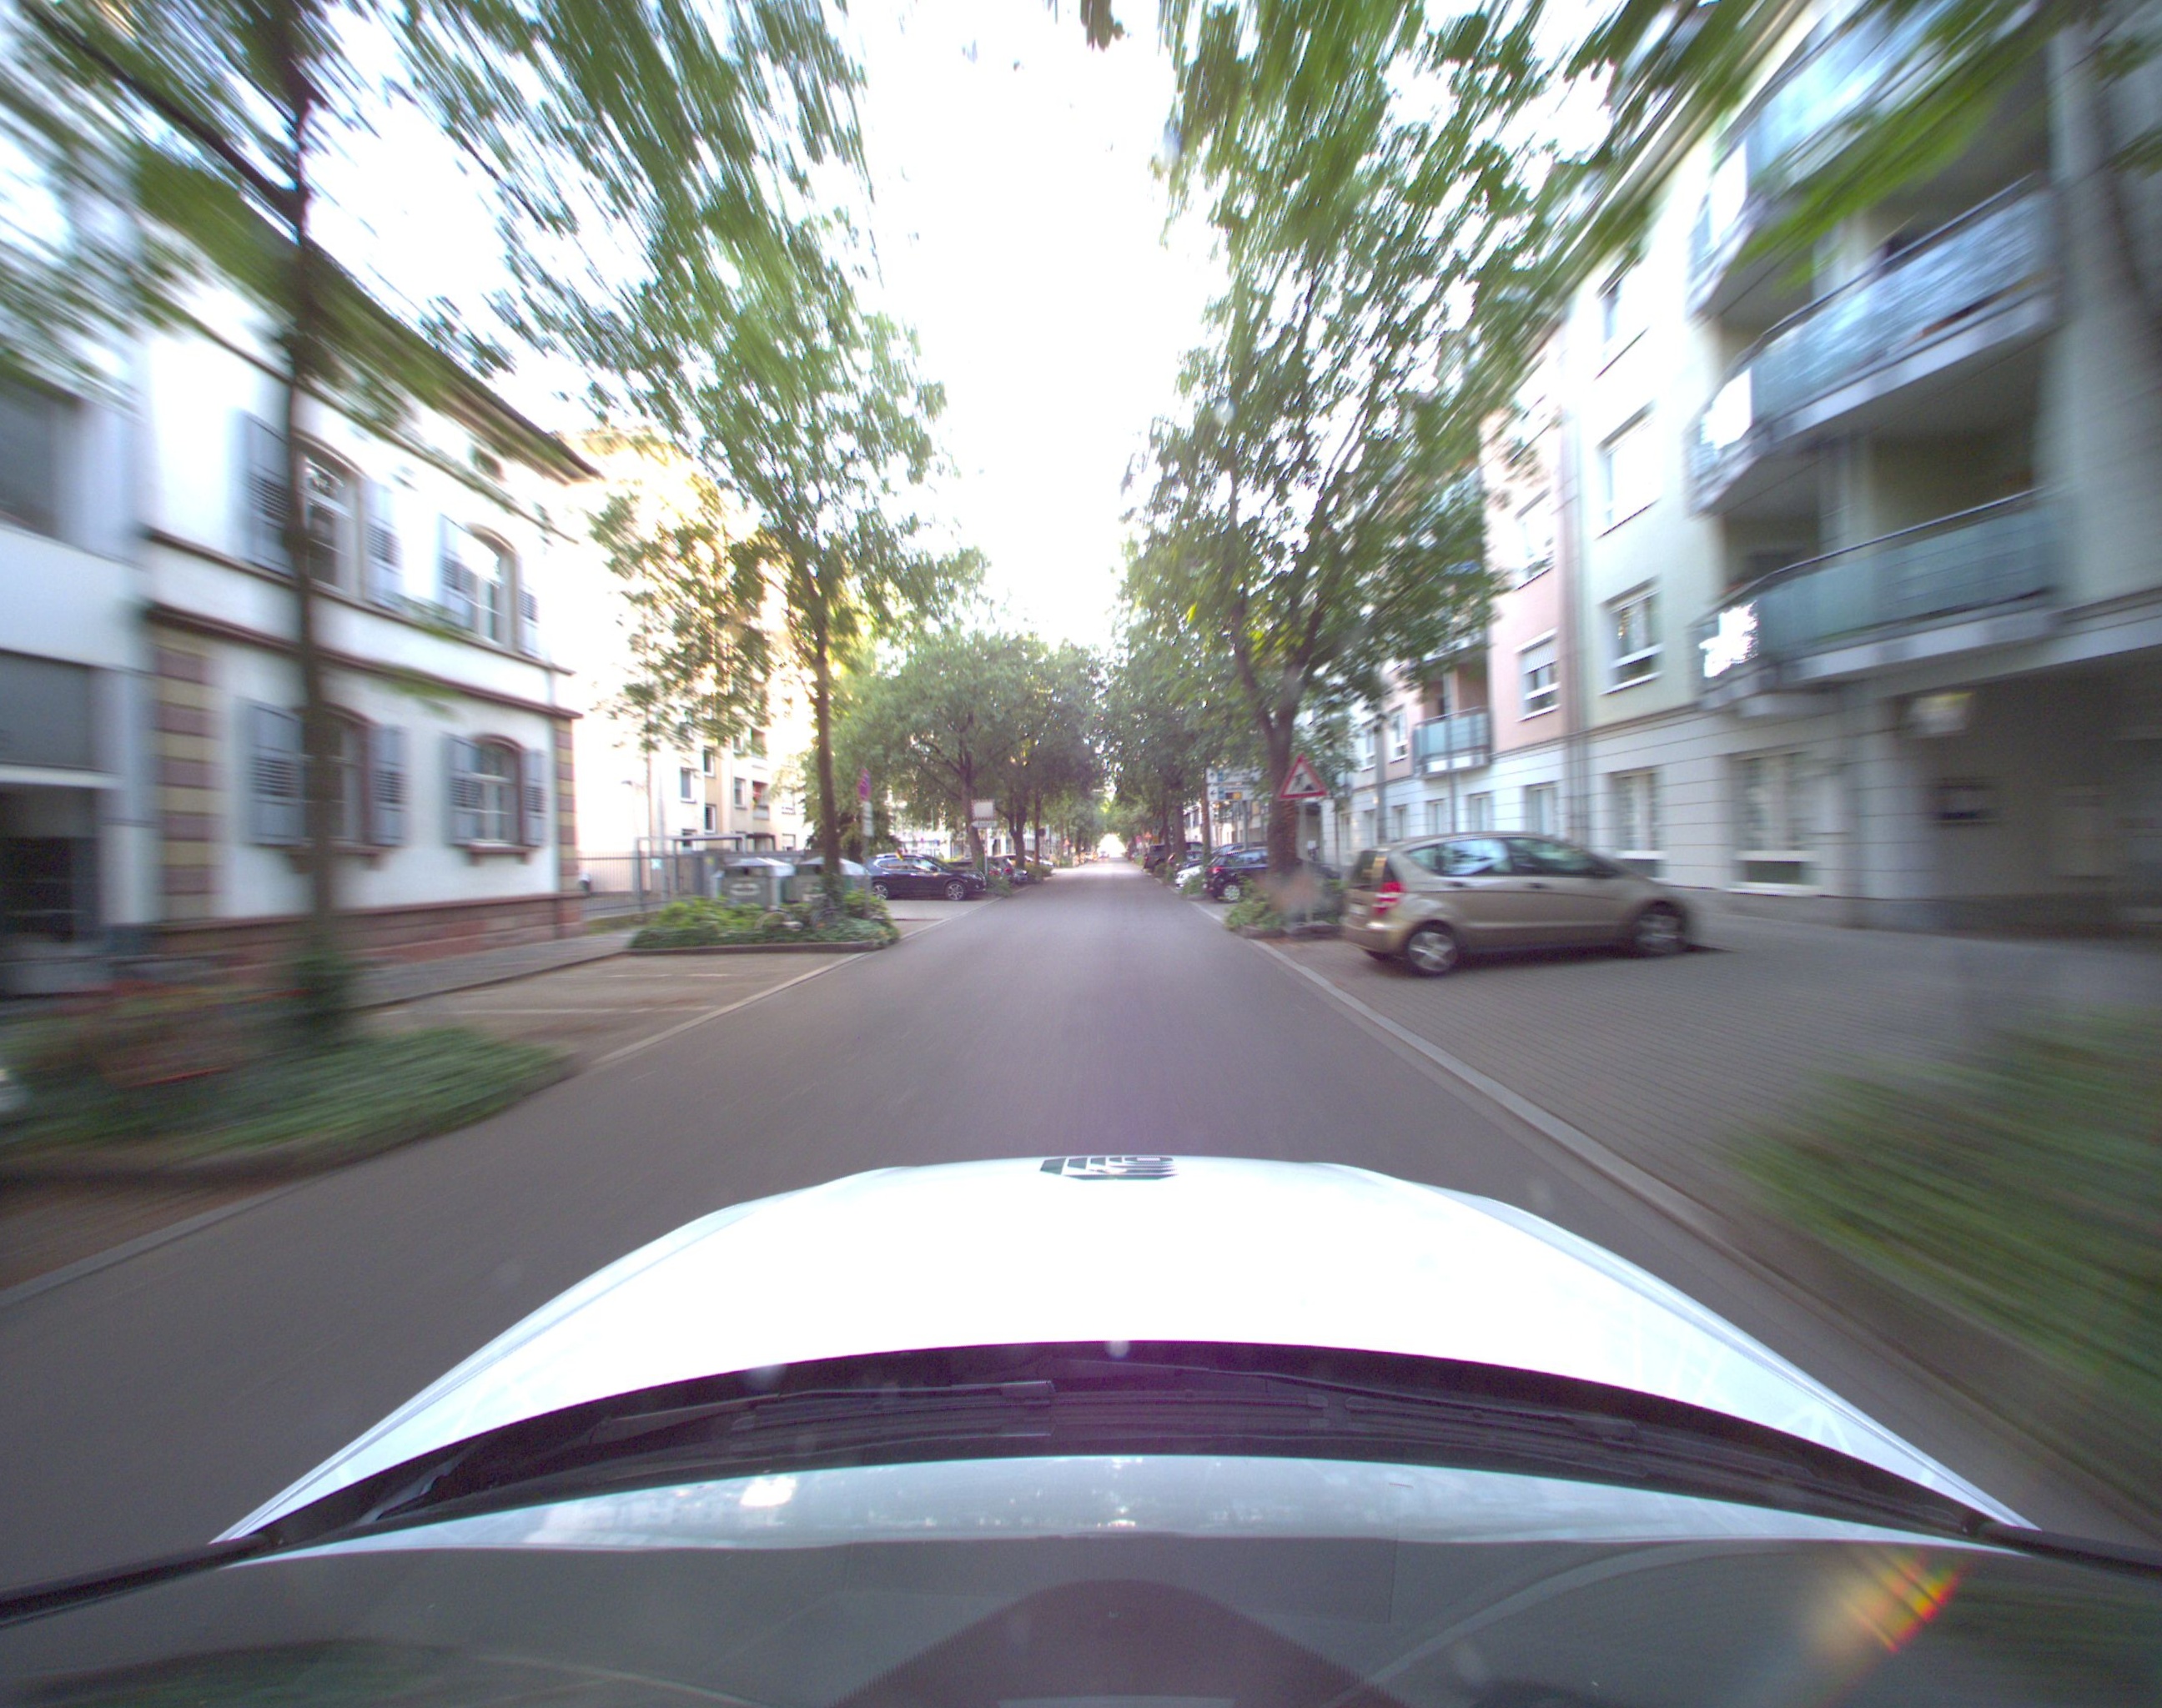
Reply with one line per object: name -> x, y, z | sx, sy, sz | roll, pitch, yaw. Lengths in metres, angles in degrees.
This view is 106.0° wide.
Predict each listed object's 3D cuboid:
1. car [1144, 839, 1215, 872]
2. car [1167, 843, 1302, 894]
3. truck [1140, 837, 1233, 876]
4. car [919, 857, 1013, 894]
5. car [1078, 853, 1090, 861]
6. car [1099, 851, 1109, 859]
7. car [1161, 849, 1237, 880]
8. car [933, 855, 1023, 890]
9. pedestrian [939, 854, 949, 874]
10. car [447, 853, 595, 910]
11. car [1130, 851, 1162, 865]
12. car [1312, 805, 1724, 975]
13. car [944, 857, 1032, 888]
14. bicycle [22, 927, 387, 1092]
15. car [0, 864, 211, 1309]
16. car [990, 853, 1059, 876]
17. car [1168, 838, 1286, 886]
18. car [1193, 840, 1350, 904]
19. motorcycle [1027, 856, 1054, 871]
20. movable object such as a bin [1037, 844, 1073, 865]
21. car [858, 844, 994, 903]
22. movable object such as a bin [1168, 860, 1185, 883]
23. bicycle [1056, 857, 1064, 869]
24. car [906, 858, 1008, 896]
car -> 6.727, 0.111, 56.040 | 4.584, 2.066, 2.198 | -2, 0, 1
car -> 5.608, 0.513, 30.089 | 4.583, 1.468, 1.796 | -5, 0, 1
truck -> 6.828, 0.159, 53.291 | 5.864, 2.311, 2.214 | -2, 0, 2
car -> -5.202, 0.970, 37.262 | 3.974, 1.490, 1.825 | -2, 0, -1
car -> 0.497, 0.501, 141.250 | 1.988, 1.288, 3.997 | -2, 0, -2
car -> 4.872, 0.279, 173.304 | 2.002, 1.613, 4.120 | -2, 0, 1
car -> 6.289, 0.536, 43.677 | 3.763, 1.544, 1.878 | -1, 0, 0
car -> -4.997, 0.899, 39.924 | 3.965, 1.565, 1.933 | -2, 0, 7
pedestrian -> -13.334, 0.983, 79.191 | 0.886, 1.851, 0.874 | -2, 0, -5
car -> -20.940, 0.970, 30.750 | 2.042, 1.923, 4.708 | -2, 0, 4
car -> 8.372, 0.515, 104.706 | 3.969, 1.585, 2.002 | -2, 0, 3
car -> 5.115, 0.399, 10.011 | 3.955, 1.585, 1.917 | -4, 0, 1
car -> -4.798, 0.951, 42.549 | 4.271, 1.429, 1.880 | -2, 0, 2
bicycle -> -5.100, 0.888, 4.787 | 1.545, 0.830, 0.614 | -2, 0, 5
car -> -6.426, 0.927, 2.696 | 4.833, 1.621, 2.162 | -2, 0, 2
car -> -4.031, 0.751, 58.326 | 4.598, 1.552, 2.078 | -1, 0, 4
car -> 6.253, 0.329, 35.250 | 4.630, 1.617, 2.008 | -5, 0, -2
car -> 5.550, 0.498, 24.062 | 4.075, 1.451, 1.932 | -5, 0, -4
motorcycle -> -3.849, 0.917, 78.145 | 2.368, 1.281, 1.055 | -2, 0, -38
movable object such as a bin -> -3.107, 0.031, 96.288 | 4.038, 2.383, 2.781 | -2, 0, -4
car -> -5.570, 0.693, 29.662 | 4.490, 1.955, 2.000 | -2, 0, 0
movable object such as a bin -> 4.812, 0.893, 41.163 | 0.757, 1.084, 0.786 | -4, 0, 3
bicycle -> -2.094, 0.855, 81.713 | 0.681, 1.152, 1.979 | -2, 0, -3
car -> -5.253, 0.974, 34.880 | 3.973, 1.464, 1.922 | -2, 0, 0
